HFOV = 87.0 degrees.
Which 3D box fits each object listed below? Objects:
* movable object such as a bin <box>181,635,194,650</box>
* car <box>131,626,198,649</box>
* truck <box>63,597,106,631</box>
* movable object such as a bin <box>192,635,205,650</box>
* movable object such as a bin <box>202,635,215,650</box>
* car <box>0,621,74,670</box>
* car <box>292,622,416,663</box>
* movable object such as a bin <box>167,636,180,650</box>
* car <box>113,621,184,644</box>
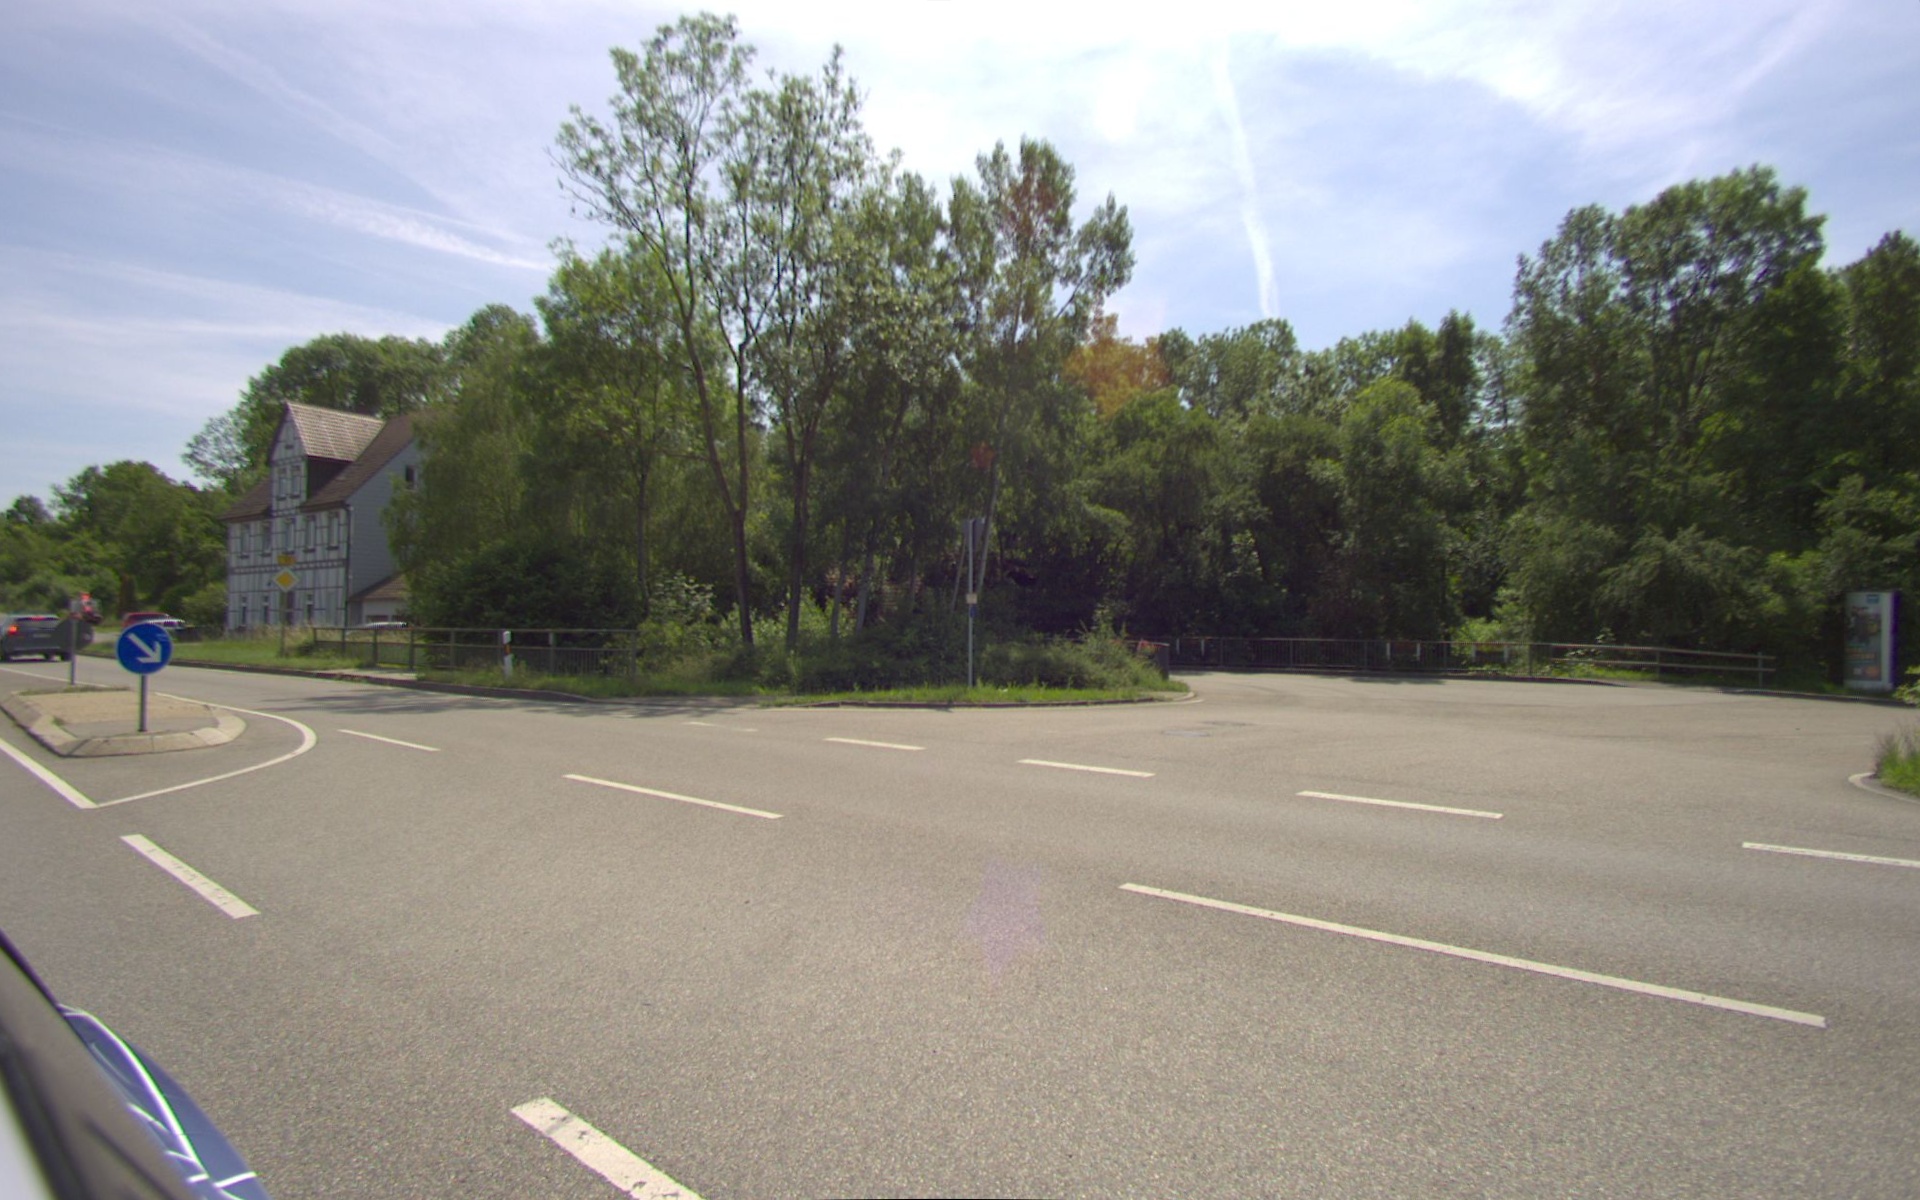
[{"bbox_3d":[-52.623,2.915,68.906,0.653,0.977,0.499,1,0,33],"label":"movable object such as a bin"},{"bbox_3d":[-55.023,2.571,70.026,1.606,1.476,3.349,0,0,34],"label":"car"},{"bbox_3d":[-78.206,1.207,90.407,6.770,2.986,2.005,0,0,41],"label":"truck"},{"bbox_3d":[-52.221,2.922,69.405,0.653,0.978,0.499,1,0,33],"label":"movable object such as a bin"},{"bbox_3d":[-51.909,2.940,69.918,0.653,0.984,0.499,1,0,33],"label":"movable object such as a bin"},{"bbox_3d":[-33.456,1.593,36.242,4.428,1.667,1.928,-1,-2,40],"label":"car"},{"bbox_3d":[-28.219,1.969,47.253,1.858,1.733,4.622,-3,-2,36],"label":"car"},{"bbox_3d":[-53.136,2.913,68.375,0.653,0.943,0.499,1,0,33],"label":"movable object such as a bin"},{"bbox_3d":[-61.969,2.458,77.328,1.832,1.631,3.985,0,0,41],"label":"car"}]
